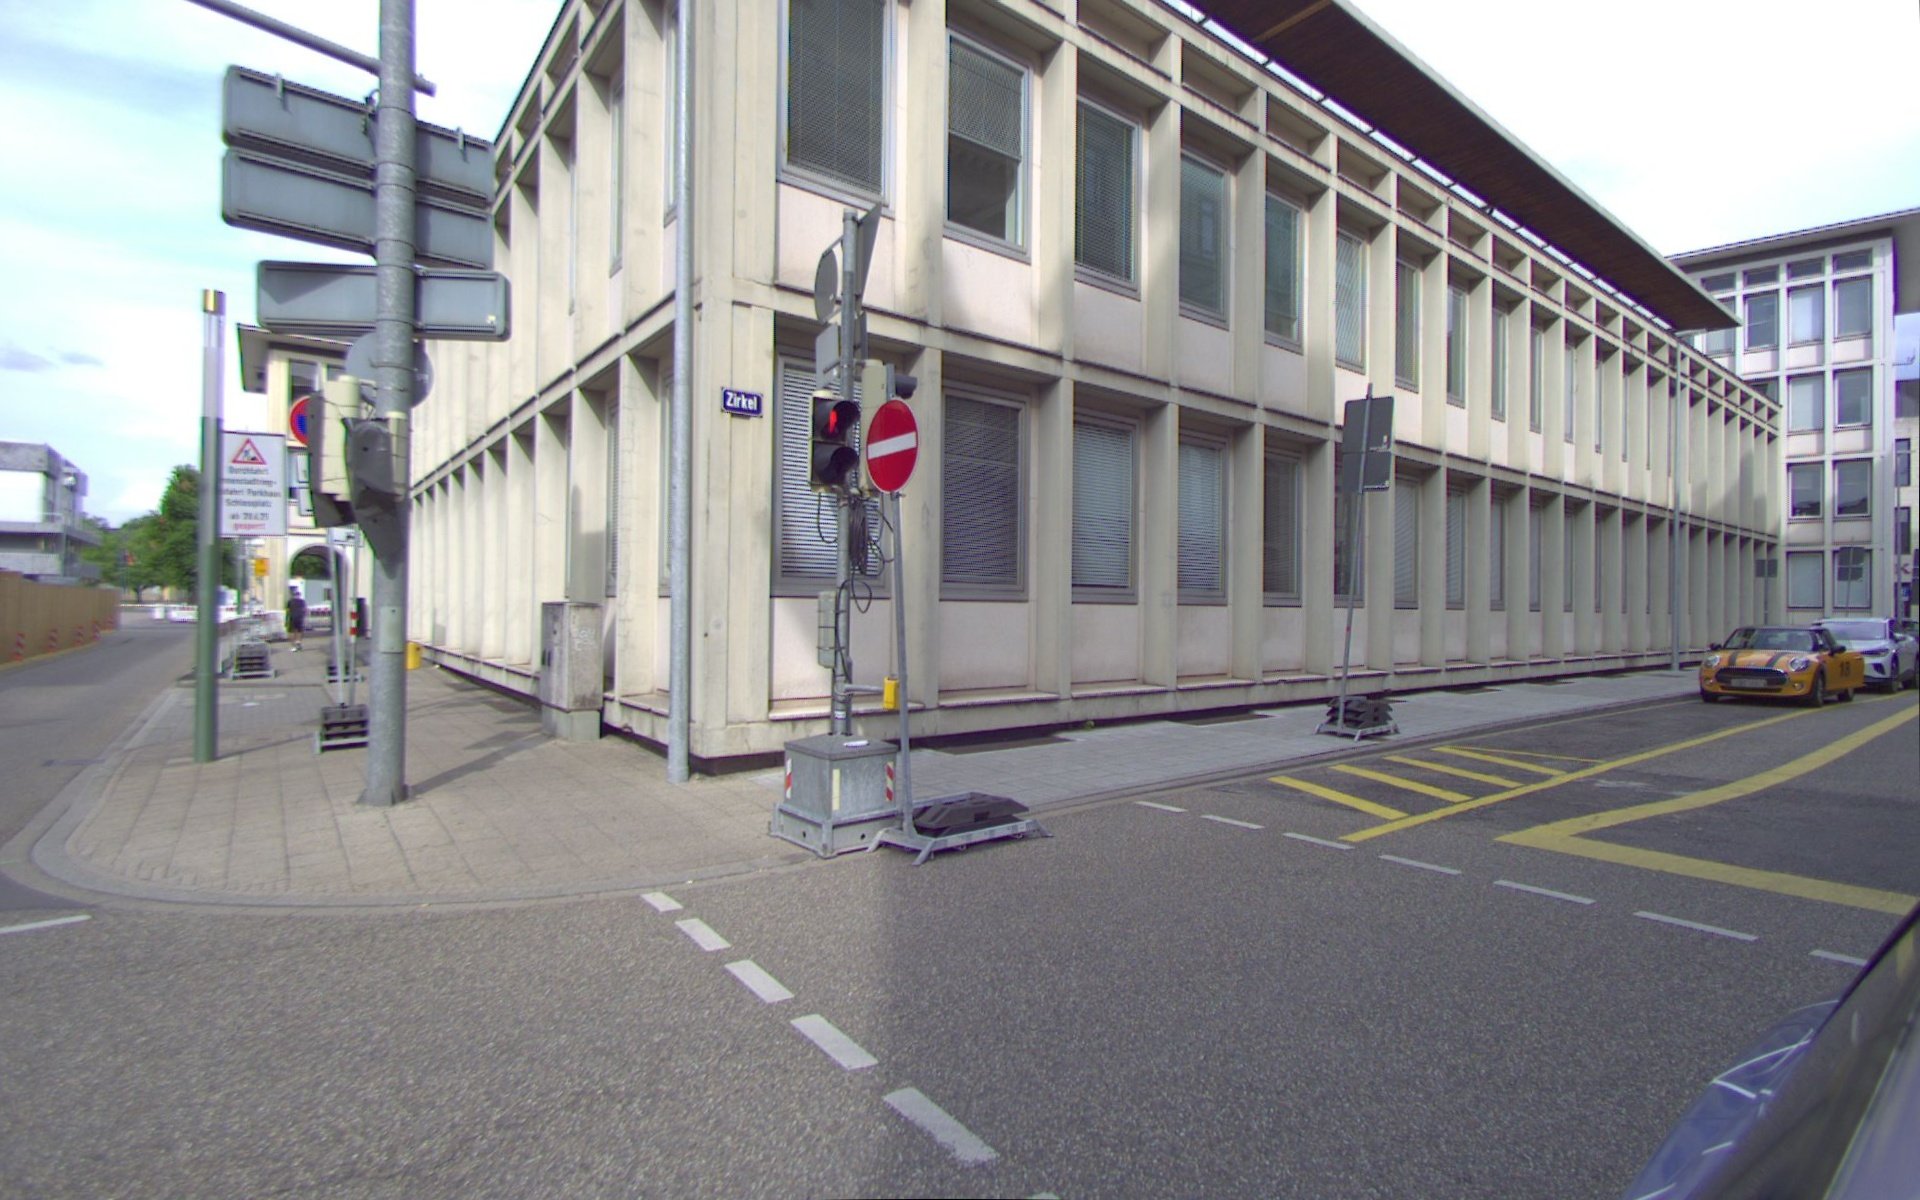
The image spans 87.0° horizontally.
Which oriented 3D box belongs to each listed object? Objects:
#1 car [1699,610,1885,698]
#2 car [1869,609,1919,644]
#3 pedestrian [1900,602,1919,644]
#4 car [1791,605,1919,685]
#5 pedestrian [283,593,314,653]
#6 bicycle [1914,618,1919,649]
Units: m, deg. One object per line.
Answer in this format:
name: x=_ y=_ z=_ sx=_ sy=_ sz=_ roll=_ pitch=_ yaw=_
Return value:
car: x=15.222 y=0.974 z=18.471 sx=3.812 sy=1.454 sz=1.685 roll=2 pitch=-3 yaw=-36
car: x=46.824 y=1.289 z=48.926 sx=1.785 sy=1.610 sz=4.186 roll=0 pitch=0 yaw=-43
pedestrian: x=42.560 y=1.017 z=45.122 sx=0.741 sy=1.838 sz=0.746 roll=-4 pitch=-4 yaw=36
car: x=20.273 y=0.971 z=22.513 sx=4.430 sy=1.626 sz=1.863 roll=1 pitch=-3 yaw=-39
pedestrian: x=-19.272 y=0.653 z=29.467 sx=0.720 sy=1.735 sz=0.848 roll=0 pitch=0 yaw=-35
bicycle: x=38.692 y=1.344 z=40.618 sx=0.588 sy=1.182 sz=1.786 roll=0 pitch=0 yaw=43
